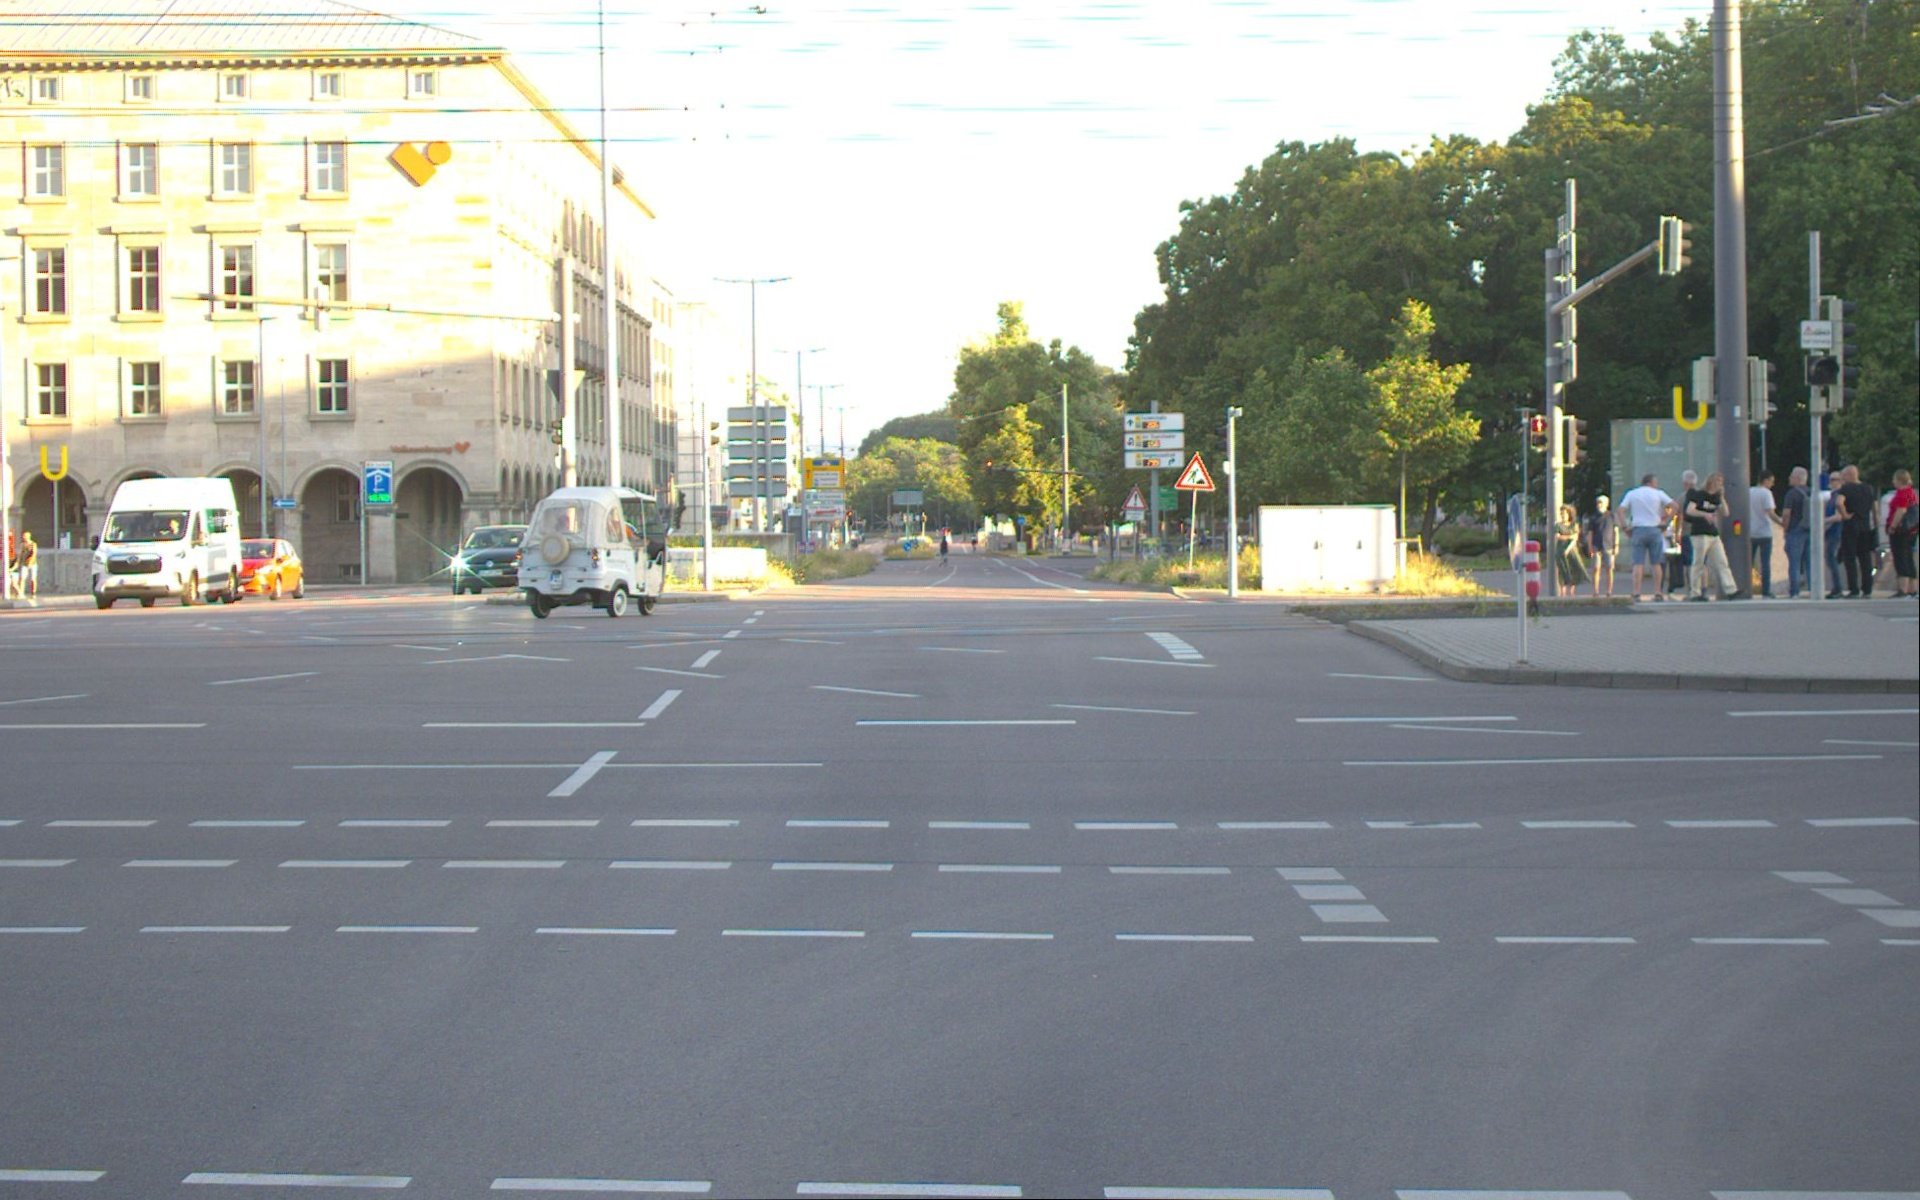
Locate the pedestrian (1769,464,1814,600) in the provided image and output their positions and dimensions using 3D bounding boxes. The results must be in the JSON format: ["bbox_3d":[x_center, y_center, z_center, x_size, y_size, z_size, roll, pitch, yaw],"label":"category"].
[{"bbox_3d":[11.040,-0.909,45.644,0.572,1.785,0.638,0,2,14],"label":"pedestrian"}]

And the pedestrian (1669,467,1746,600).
[{"bbox_3d":[9.733,-0.869,44.760,0.913,1.719,0.712,0,2,17],"label":"pedestrian"}]

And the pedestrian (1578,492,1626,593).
[{"bbox_3d":[11.313,-1.011,60.538,0.680,1.751,0.901,0,2,20],"label":"pedestrian"}]

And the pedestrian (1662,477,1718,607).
[{"bbox_3d":[9.727,-0.778,45.778,0.711,1.719,0.668,0,2,13],"label":"pedestrian"}]

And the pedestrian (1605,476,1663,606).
[{"bbox_3d":[9.000,-0.790,45.891,0.711,1.719,0.668,0,2,14],"label":"pedestrian"}]

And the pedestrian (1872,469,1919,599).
[{"bbox_3d":[12.670,-0.891,46.008,0.845,1.728,0.705,0,2,12],"label":"pedestrian"}]

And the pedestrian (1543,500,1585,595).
[{"bbox_3d":[10.659,-0.926,60.652,0.560,1.649,0.901,0,2,20],"label":"pedestrian"}]

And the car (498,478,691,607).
[{"bbox_3d":[-4.952,-0.801,46.879,1.484,1.690,2.971,0,2,19],"label":"car"}]

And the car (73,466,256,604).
[{"bbox_3d":[-16.695,-1.391,72.477,2.279,2.766,6.084,-1,2,1],"label":"car"}]

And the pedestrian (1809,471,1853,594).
[{"bbox_3d":[11.939,-0.923,47.125,0.572,1.673,0.638,0,2,14],"label":"pedestrian"}]

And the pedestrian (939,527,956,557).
[{"bbox_3d":[-0.714,-3.276,194.644,0.906,1.665,1.307,-1,2,-1],"label":"pedestrian"}]

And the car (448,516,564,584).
[{"bbox_3d":[-9.558,-1.081,72.631,1.823,1.337,4.000,-1,2,2],"label":"car"}]

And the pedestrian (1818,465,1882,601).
[{"bbox_3d":[11.818,-0.899,45.672,0.805,1.785,0.800,0,2,14],"label":"pedestrian"}]

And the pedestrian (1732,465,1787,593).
[{"bbox_3d":[10.815,-0.967,46.529,0.711,1.719,0.914,0,2,13],"label":"pedestrian"}]

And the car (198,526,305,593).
[{"bbox_3d":[-16.697,-0.980,81.180,1.738,1.482,4.001,-1,2,-1],"label":"car"}]

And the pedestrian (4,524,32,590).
[{"bbox_3d":[-25.161,-1.153,91.810,0.621,1.738,0.460,1,0,-5],"label":"pedestrian"}]
